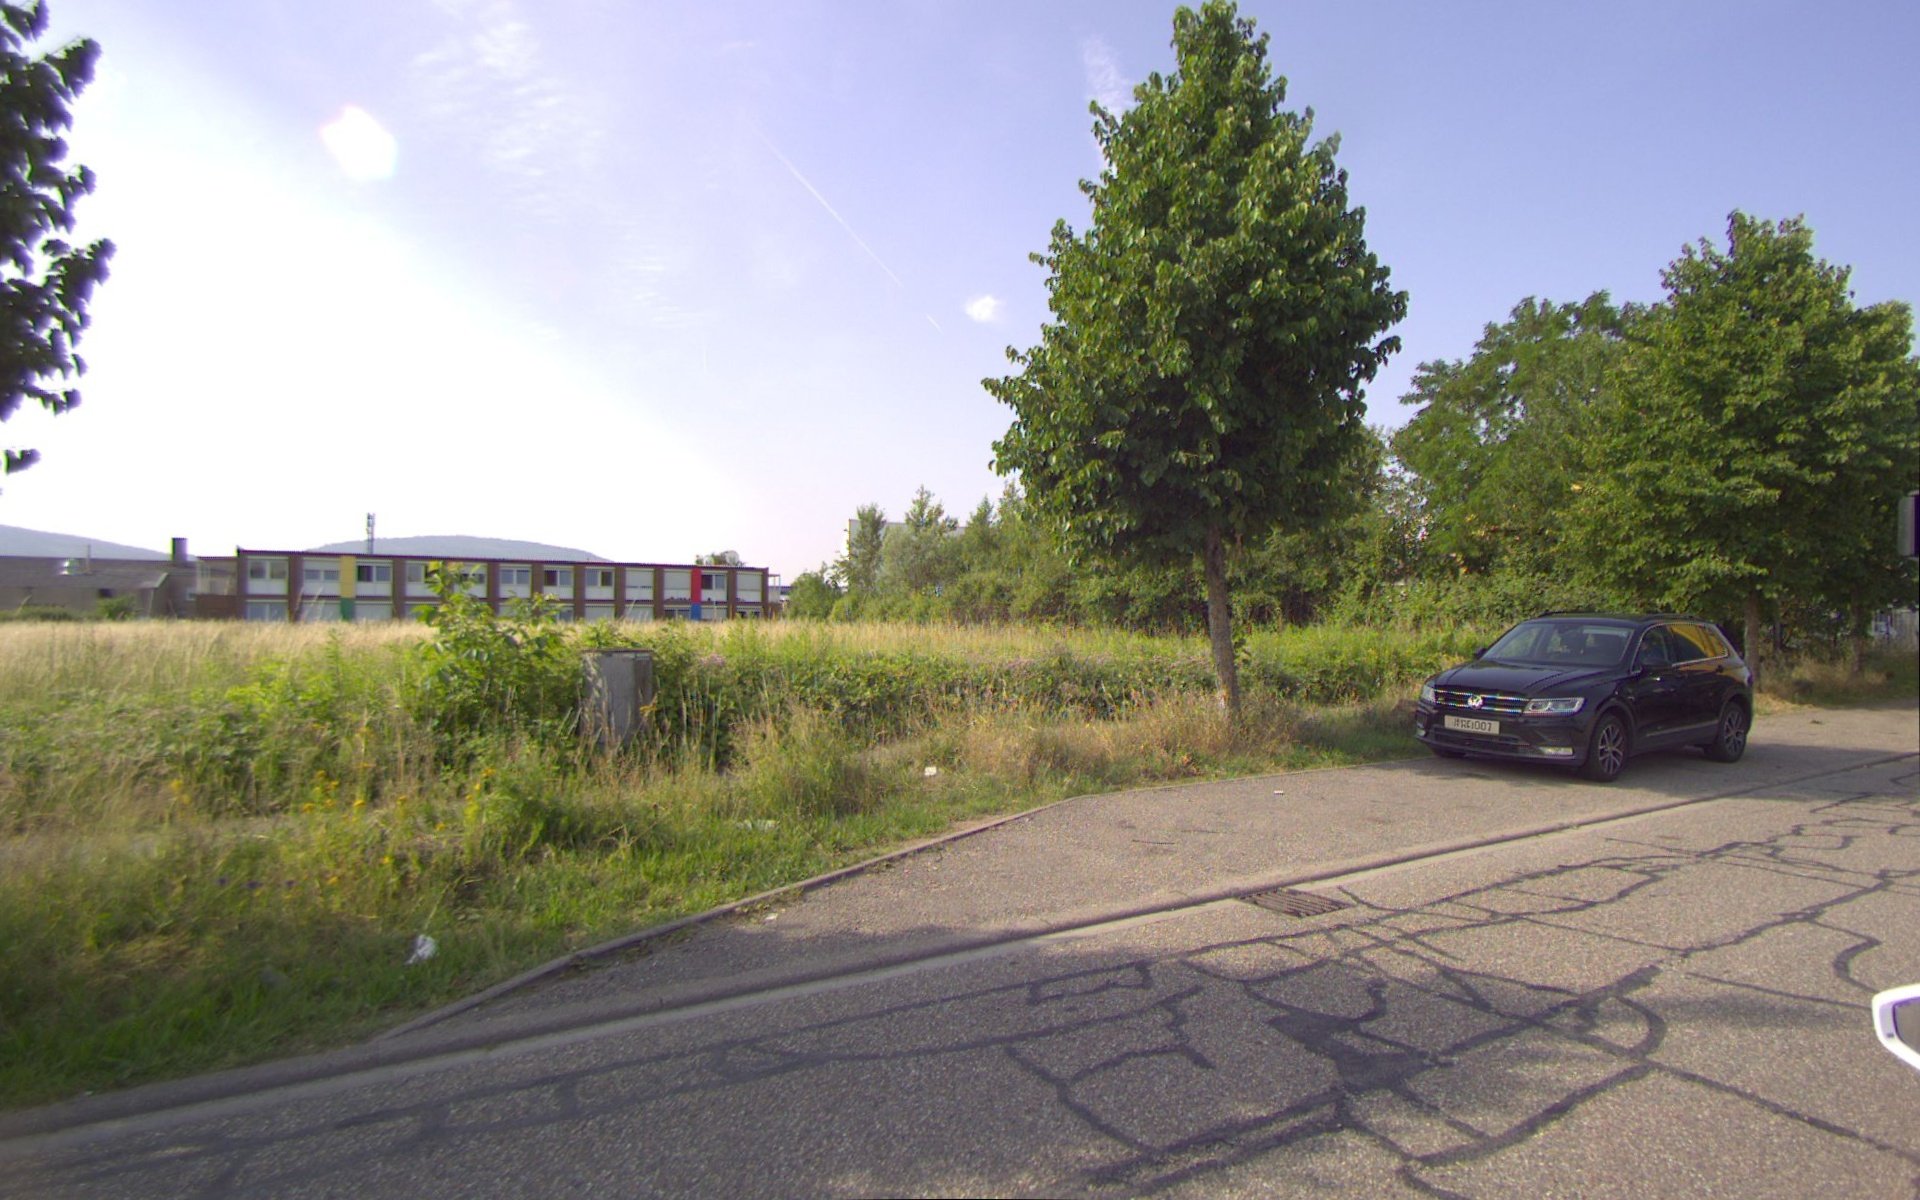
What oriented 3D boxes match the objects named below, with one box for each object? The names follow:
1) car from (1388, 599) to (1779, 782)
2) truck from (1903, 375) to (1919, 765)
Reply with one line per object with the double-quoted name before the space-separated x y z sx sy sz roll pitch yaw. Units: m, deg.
"car" 6.982 0.862 11.151 4.398 1.648 1.893 1 1 -31
"truck" 15.281 -0.297 12.608 10.265 4.200 2.485 1 -3 -33
